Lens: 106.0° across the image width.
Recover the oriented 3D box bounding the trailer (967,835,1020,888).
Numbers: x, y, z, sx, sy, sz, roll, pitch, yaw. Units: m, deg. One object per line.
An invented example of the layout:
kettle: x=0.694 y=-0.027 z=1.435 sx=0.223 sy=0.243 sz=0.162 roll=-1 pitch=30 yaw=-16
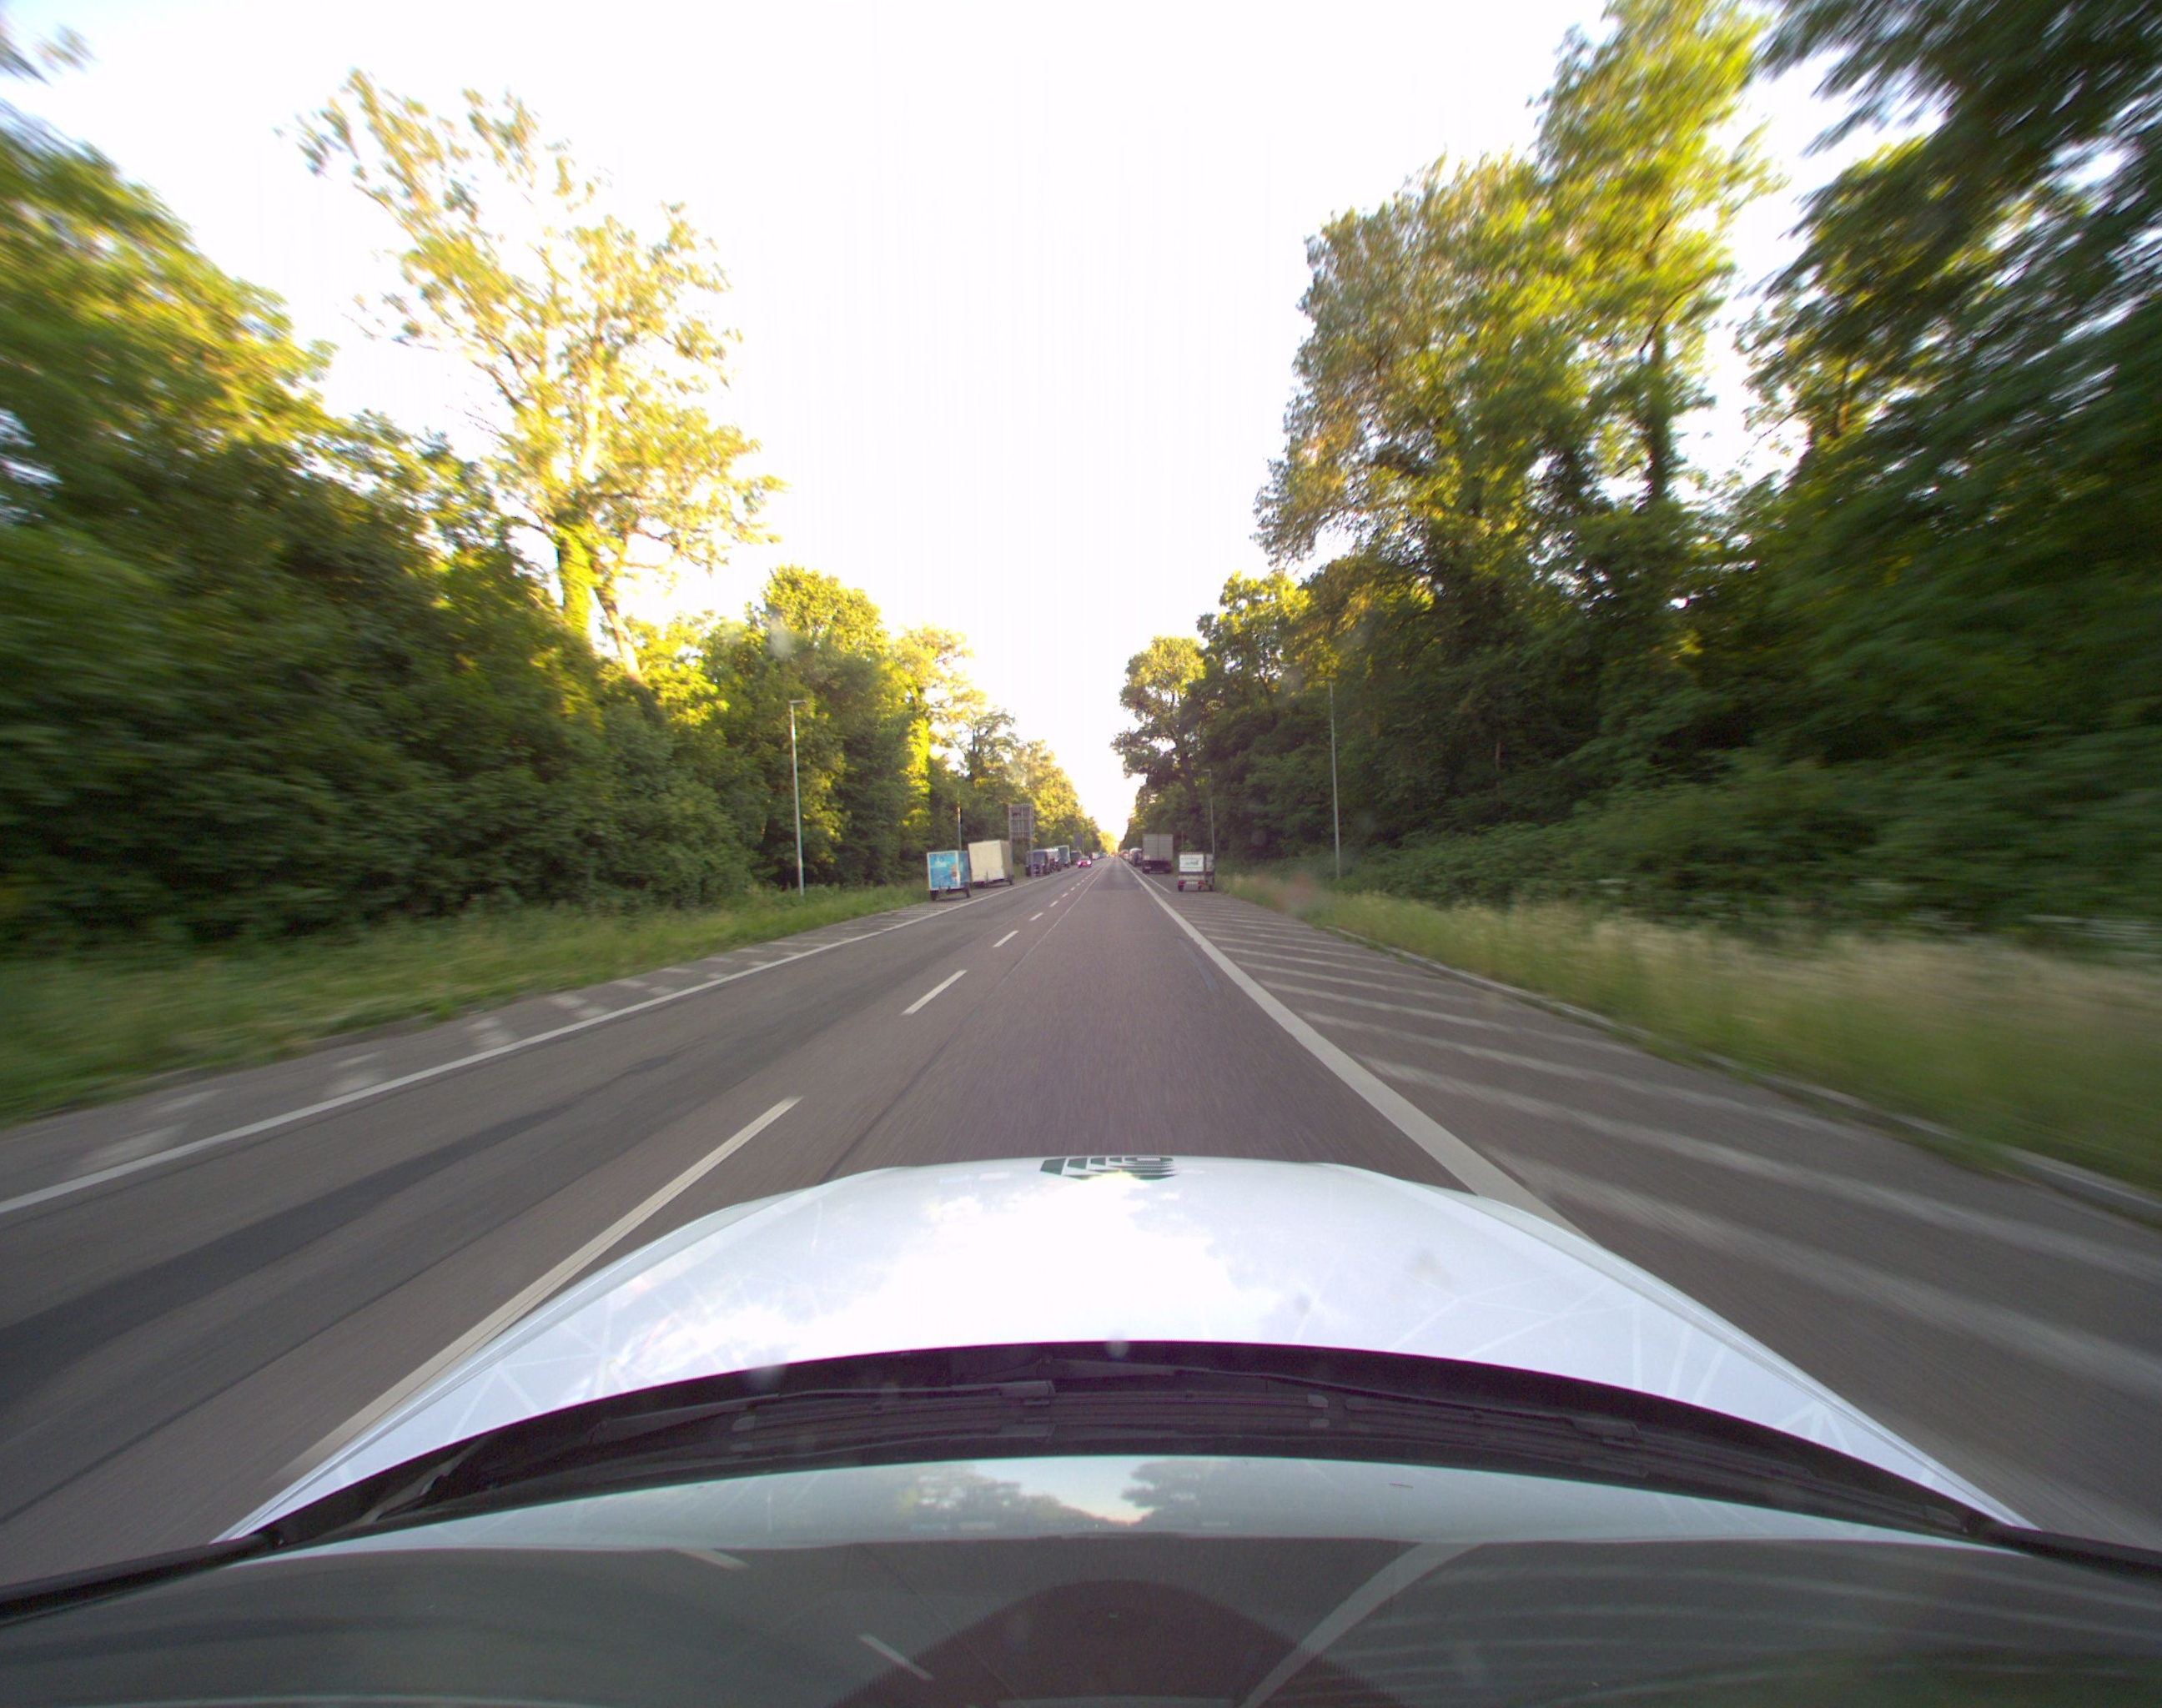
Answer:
trailer: x=-5.412 y=0.444 z=51.104 sx=2.317 sy=2.924 sz=5.629 roll=-5 pitch=0 yaw=2

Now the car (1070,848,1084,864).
car: x=-0.739 y=0.408 z=154.147 sx=2.178 sy=2.788 sz=5.337 roll=-3 pitch=0 yaw=2

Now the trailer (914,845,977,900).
trailer: x=-5.825 y=0.768 z=35.488 sx=1.811 sy=2.167 sz=4.144 roll=-3 pitch=0 yaw=1

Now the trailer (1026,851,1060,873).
trailer: x=-4.105 y=0.851 z=88.431 sx=1.945 sy=2.155 sz=3.952 roll=-3 pitch=0 yaw=23

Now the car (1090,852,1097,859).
car: x=3.957 y=0.419 z=261.688 sx=1.987 sy=2.014 sz=3.998 roll=-3 pitch=-2 yaw=0

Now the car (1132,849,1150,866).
car: x=7.446 y=0.454 z=101.259 sx=1.987 sy=1.955 sz=4.299 roll=-1 pitch=0 yaw=0

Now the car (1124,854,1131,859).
car: x=11.298 y=0.598 z=198.481 sx=1.422 sy=1.222 sz=3.413 roll=-5 pitch=0 yaw=2

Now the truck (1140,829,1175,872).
truck: x=6.273 y=-0.264 z=67.511 sx=2.577 sy=3.255 sz=7.227 roll=-1 pitch=0 yaw=4

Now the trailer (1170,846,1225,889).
trailer: x=5.050 y=0.558 z=34.987 sx=1.443 sy=1.662 sz=3.797 roll=-3 pitch=0 yaw=21

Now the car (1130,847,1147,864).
car: x=8.444 y=0.244 z=120.514 sx=2.134 sy=2.313 sz=4.299 roll=-1 pitch=0 yaw=0

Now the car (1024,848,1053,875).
car: x=-3.997 y=0.682 z=77.520 sx=1.986 sy=2.364 sz=5.769 roll=-5 pitch=0 yaw=2

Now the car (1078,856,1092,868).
car: x=0.566 y=1.132 z=109.972 sx=1.676 sy=1.486 sz=4.039 roll=-3 pitch=0 yaw=1

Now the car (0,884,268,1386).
car: x=-4.321 y=0.878 z=0.925 sx=2.054 sy=1.435 sz=4.471 roll=-4 pitch=-1 yaw=4

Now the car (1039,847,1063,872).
car: x=-3.409 y=0.568 z=93.945 sx=2.240 sy=2.647 sz=5.724 roll=-3 pitch=0 yaw=2

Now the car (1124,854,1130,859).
car: x=12.178 y=0.673 z=215.216 sx=1.639 sy=1.486 sz=4.002 roll=-1 pitch=0 yaw=2

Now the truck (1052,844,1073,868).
truck: x=-2.719 y=0.243 z=119.415 sx=2.494 sy=3.328 sz=6.845 roll=-3 pitch=0 yaw=2

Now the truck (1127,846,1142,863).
truck: x=8.827 y=0.138 z=133.604 sx=2.134 sy=2.659 sz=4.299 roll=-1 pitch=0 yaw=0
